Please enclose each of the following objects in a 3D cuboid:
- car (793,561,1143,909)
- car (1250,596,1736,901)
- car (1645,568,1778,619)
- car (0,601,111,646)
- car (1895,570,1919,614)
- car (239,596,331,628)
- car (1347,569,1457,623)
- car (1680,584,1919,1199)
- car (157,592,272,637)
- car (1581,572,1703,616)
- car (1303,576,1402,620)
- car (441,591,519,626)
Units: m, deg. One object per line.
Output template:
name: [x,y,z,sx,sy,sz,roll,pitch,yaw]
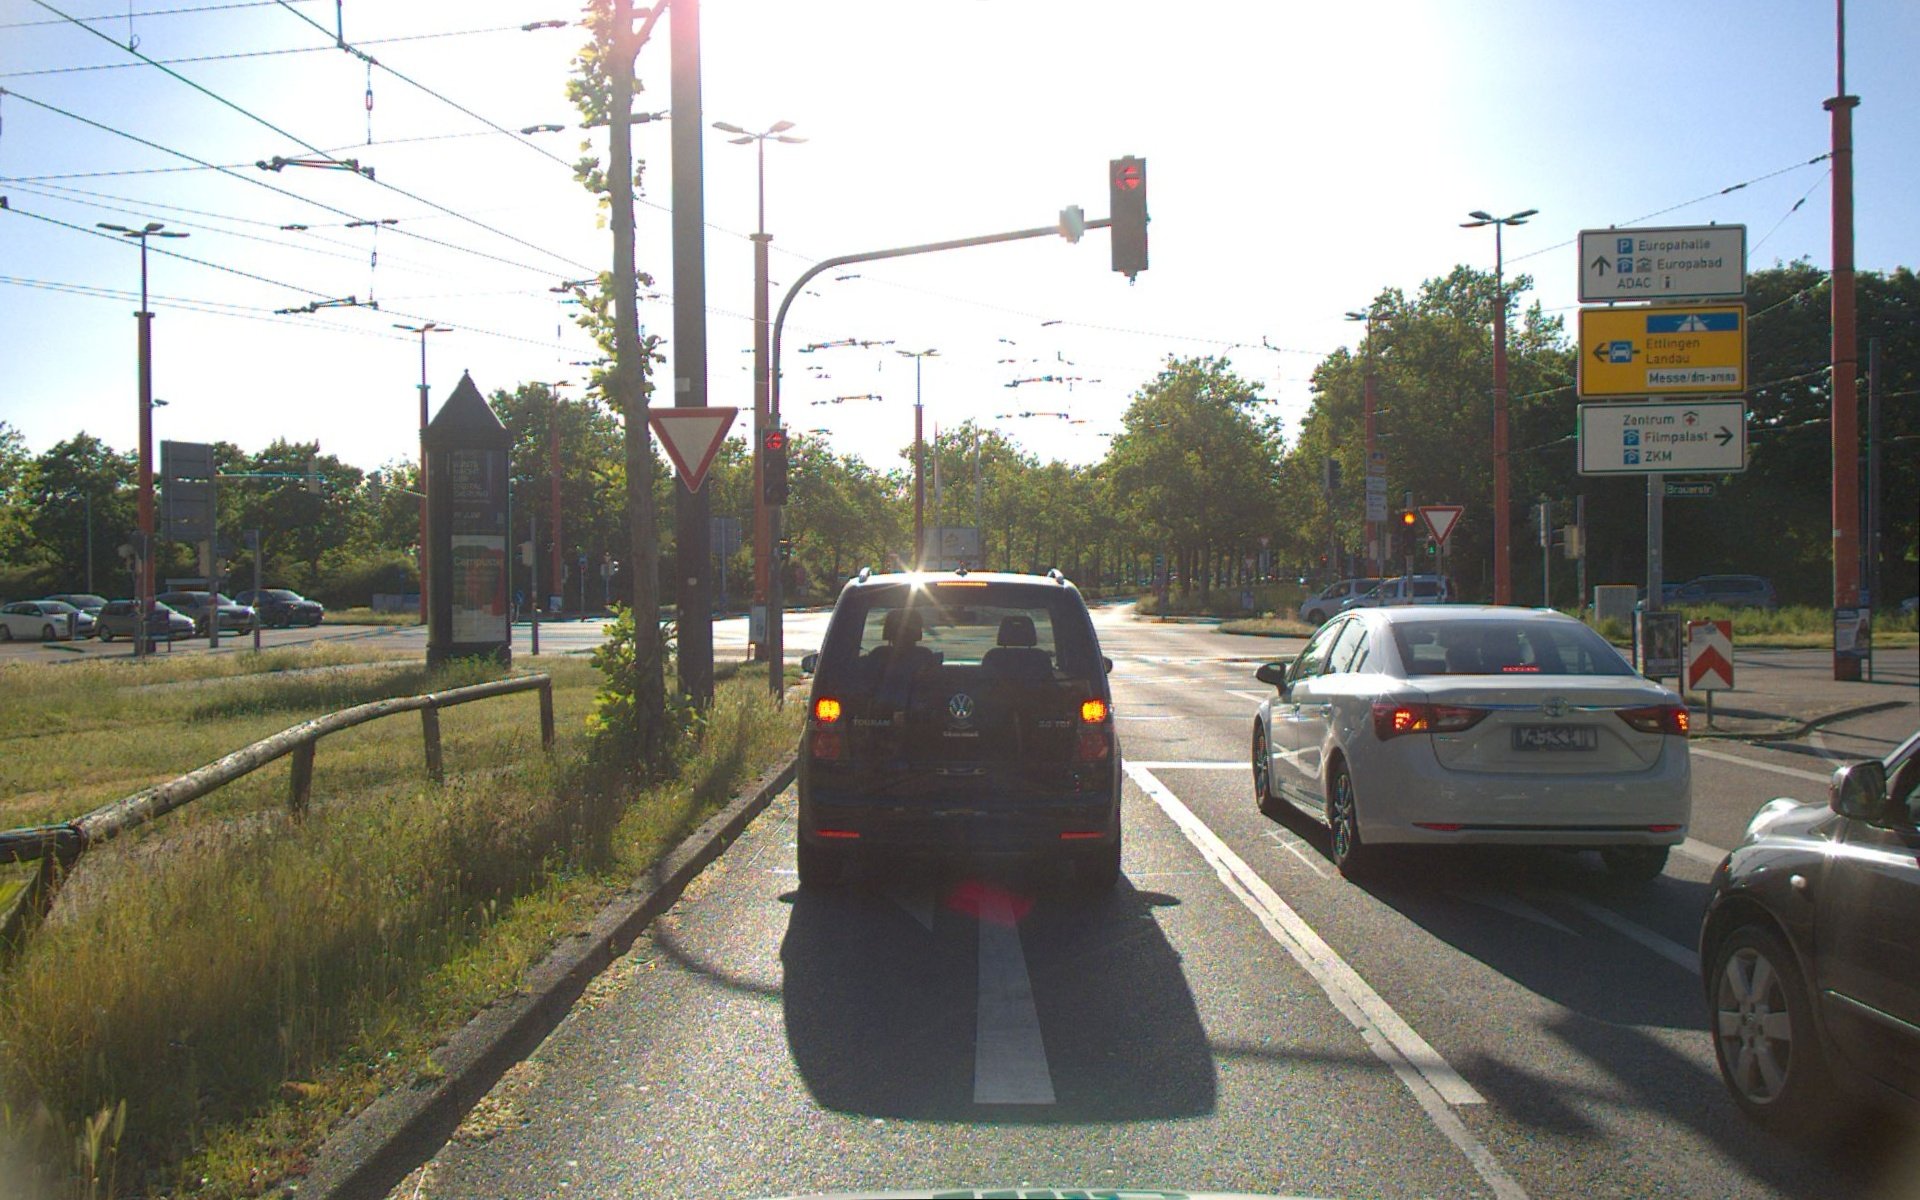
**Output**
car: [0.004,0.633,9.845,1.666,1.650,3.896,0,0,-1]
car: [2.977,0.722,10.192,1.685,1.463,4.198,1,0,1]
car: [25.988,-0.235,57.206,4.097,1.673,1.758,1,0,26]
car: [-34.689,0.870,63.224,4.091,1.640,1.867,0,0,25]
car: [34.140,-0.226,56.341,3.887,1.466,1.685,1,0,27]
car: [-29.259,0.504,71.663,3.913,1.353,1.694,0,0,31]
car: [16.574,-0.166,62.029,3.754,1.923,1.763,1,0,22]
car: [3.183,0.739,3.615,1.620,1.526,3.614,1,0,0]
car: [-28.907,0.542,64.145,3.907,1.673,1.999,0,0,24]
car: [25.190,-0.222,61.083,4.040,1.537,1.821,1,0,26]
car: [15.660,-0.085,66.050,3.570,1.684,1.679,1,0,25]
car: [-23.814,0.396,82.045,4.036,1.685,1.794,0,0,39]
